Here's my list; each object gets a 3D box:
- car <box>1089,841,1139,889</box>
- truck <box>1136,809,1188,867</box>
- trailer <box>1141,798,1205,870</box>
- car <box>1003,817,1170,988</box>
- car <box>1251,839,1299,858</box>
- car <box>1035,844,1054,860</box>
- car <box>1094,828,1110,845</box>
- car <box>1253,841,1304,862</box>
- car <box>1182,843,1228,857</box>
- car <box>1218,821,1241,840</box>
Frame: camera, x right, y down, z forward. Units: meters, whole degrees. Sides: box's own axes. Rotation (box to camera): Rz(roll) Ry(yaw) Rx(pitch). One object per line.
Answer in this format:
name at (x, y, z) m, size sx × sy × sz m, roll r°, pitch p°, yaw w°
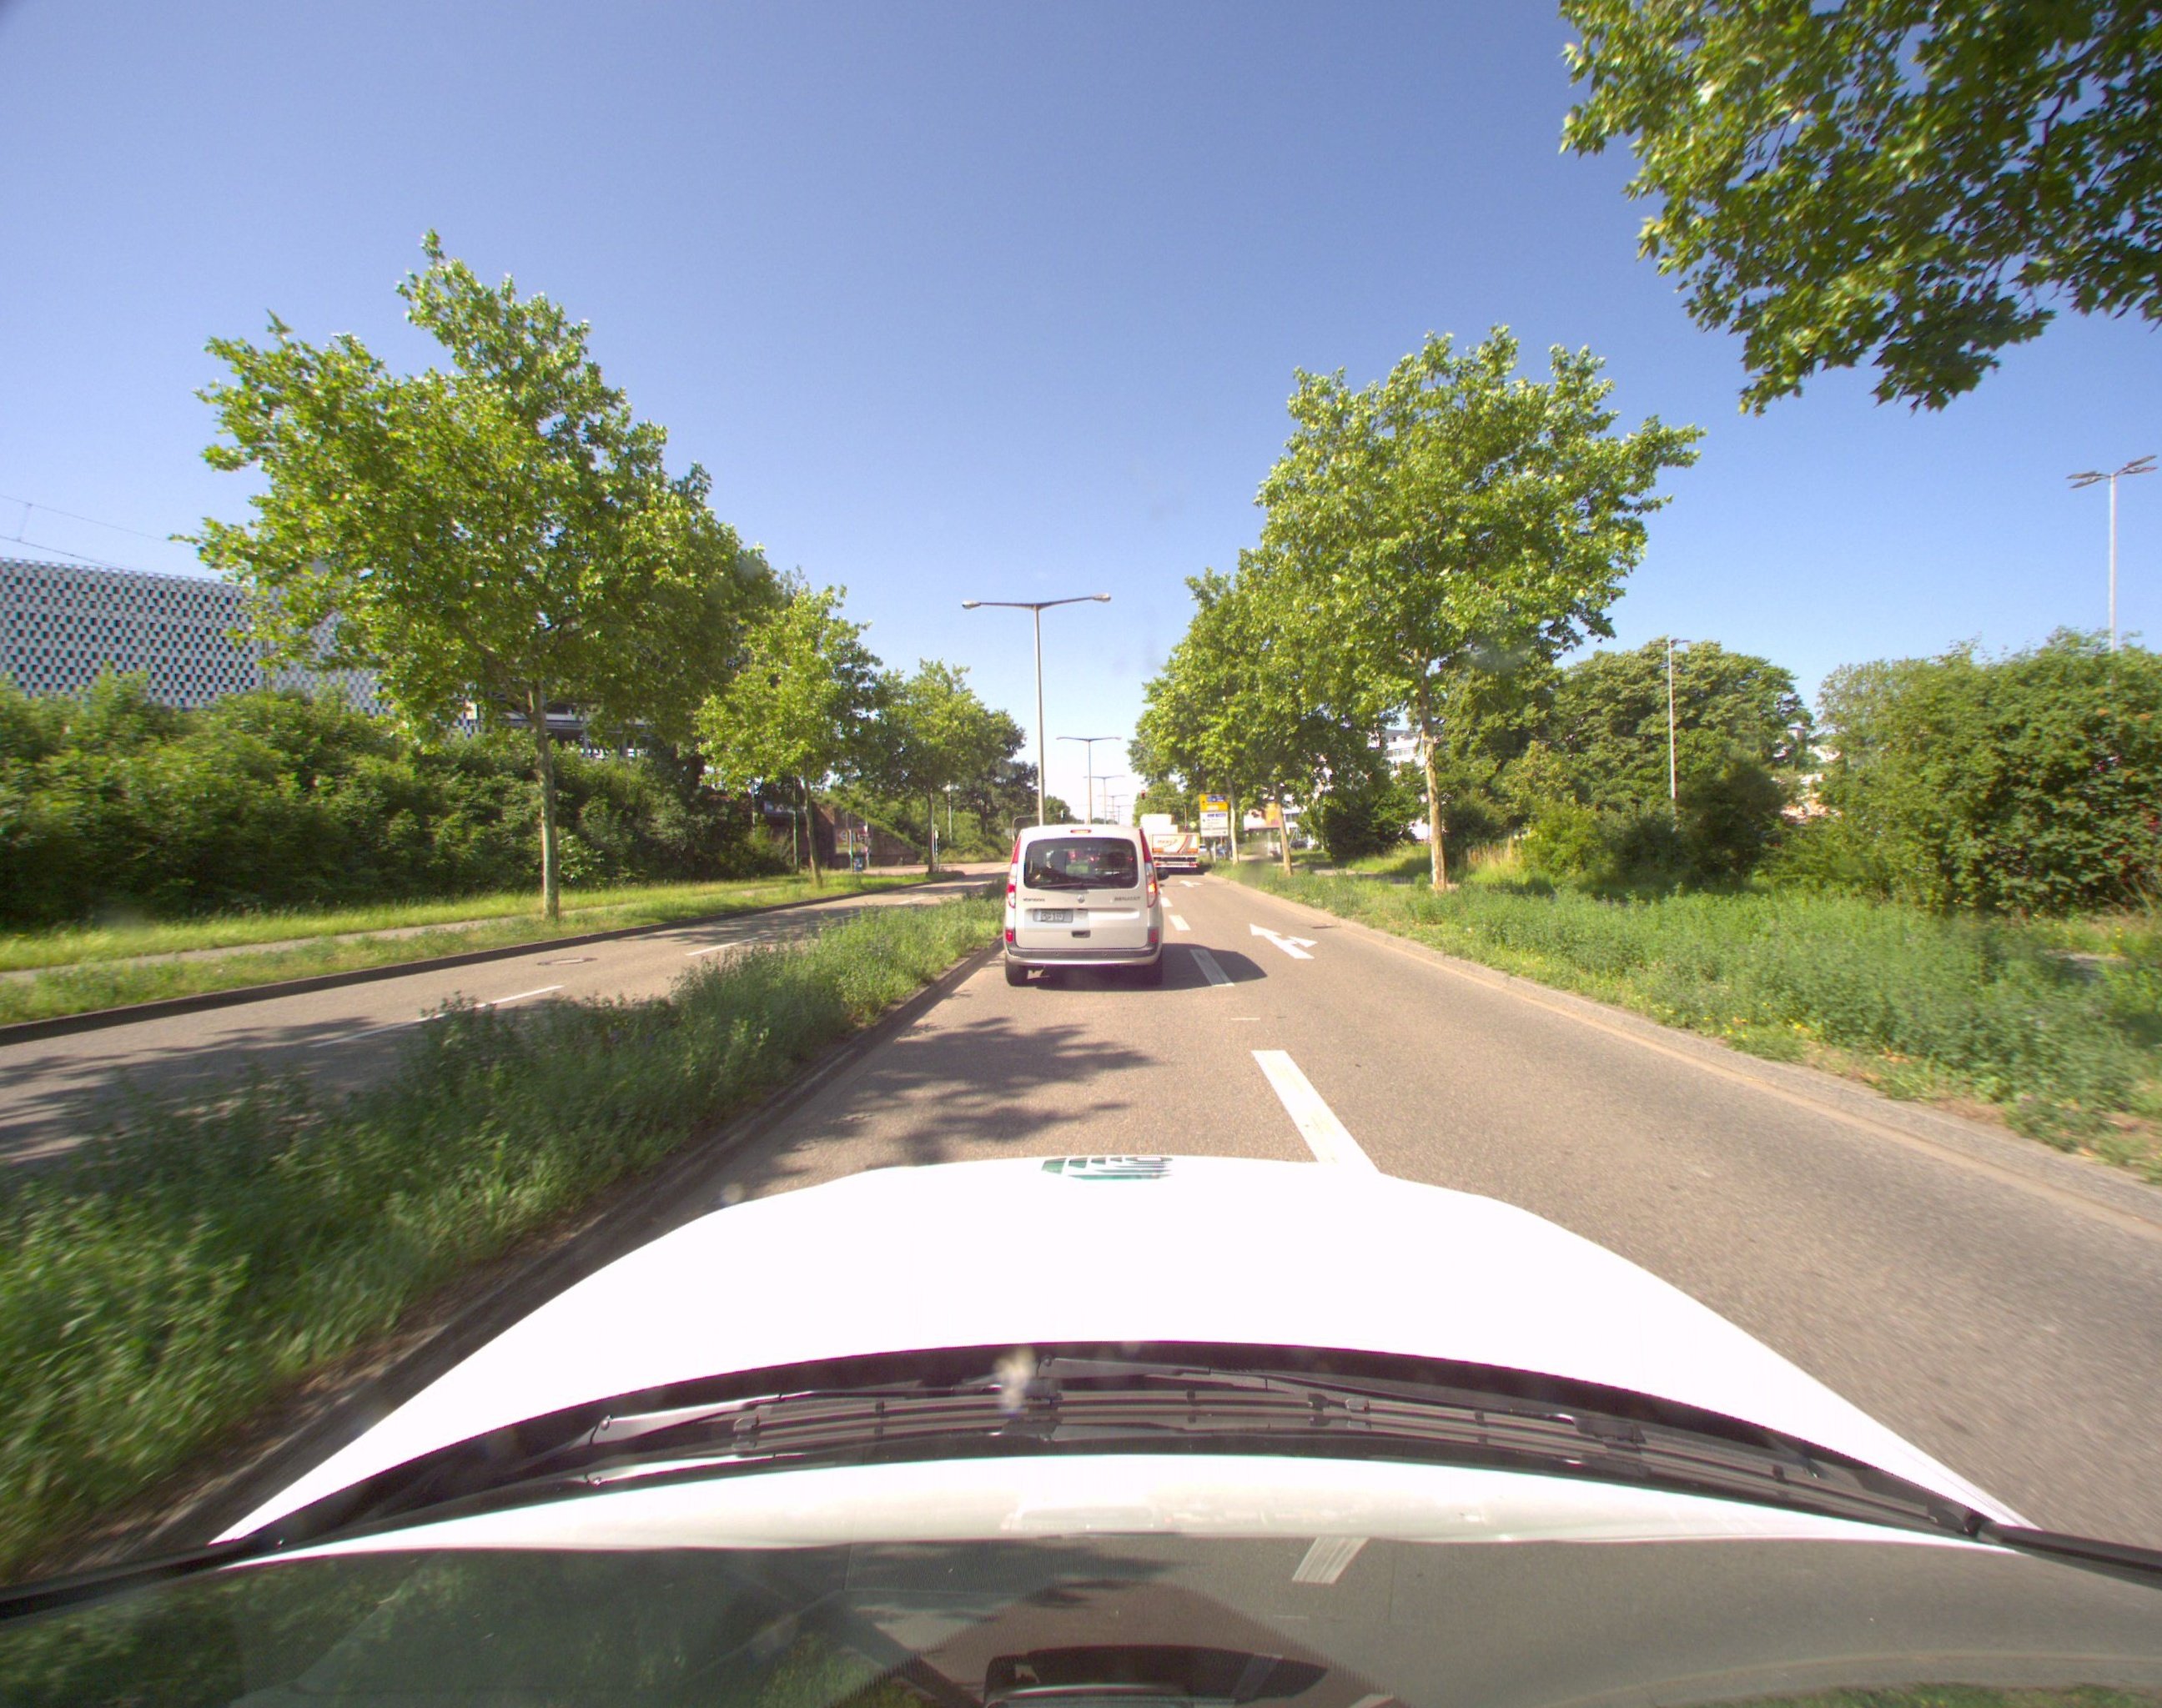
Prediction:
car at (1.198, 0.383, 31.094) m, size 1.803 × 1.684 × 4.000 m, roll 0°, pitch 0°, yaw 0°
truck at (5.528, -1.042, 56.570) m, size 3.060 × 3.758 × 7.479 m, roll 0°, pitch 0°, yaw 2°
trailer at (5.227, -1.063, 48.289) m, size 3.004 × 3.740 × 12.249 m, roll 0°, pitch 0°, yaw 3°
car at (0.133, 0.501, 10.454) m, size 1.742 × 1.772 × 3.951 m, roll 0°, pitch 0°, yaw 2°
car at (16.979, -0.495, 71.395) m, size 3.965 × 1.662 × 1.727 m, roll 0°, pitch 0°, yaw 7°
car at (-4.814, -0.276, 108.723) m, size 1.986 × 1.891 × 4.990 m, roll -3°, pitch 0°, yaw 2°
car at (2.673, -2.211, 103.849) m, size 1.710 × 2.013 × 3.996 m, roll 0°, pitch 0°, yaw -3°
car at (16.511, -0.213, 68.186) m, size 3.965 × 1.662 × 1.727 m, roll 0°, pitch 0°, yaw 7°
car at (12.603, -0.439, 82.980) m, size 4.460 × 1.427 × 1.717 m, roll 0°, pitch 0°, yaw -24°
car at (14.441, -2.246, 79.460) m, size 1.808 × 1.795 × 3.447 m, roll 0°, pitch 0°, yaw 4°
